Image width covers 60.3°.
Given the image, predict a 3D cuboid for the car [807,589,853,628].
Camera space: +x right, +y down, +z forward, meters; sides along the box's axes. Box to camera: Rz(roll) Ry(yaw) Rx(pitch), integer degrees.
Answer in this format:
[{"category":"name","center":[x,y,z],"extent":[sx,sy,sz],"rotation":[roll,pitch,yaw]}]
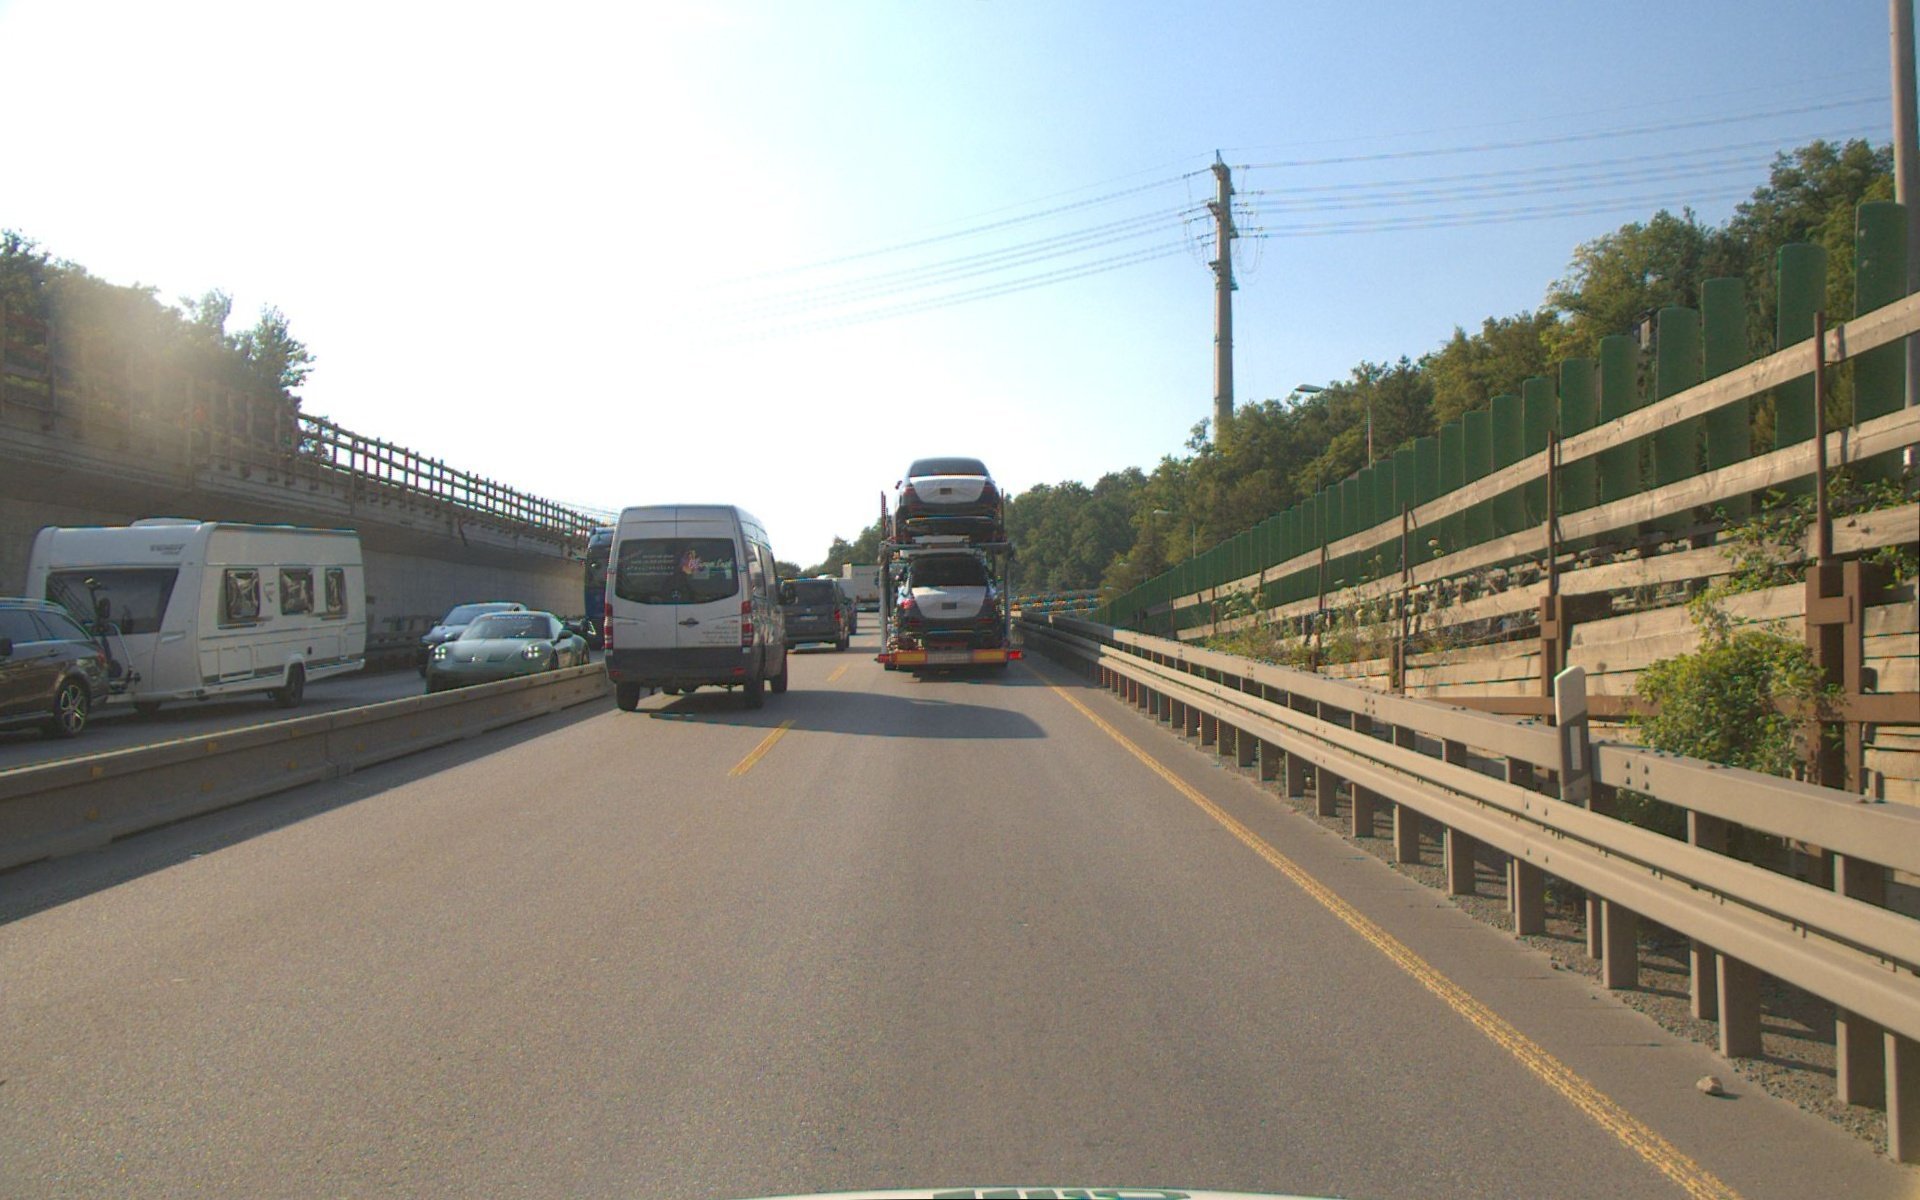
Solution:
[{"category":"car","center":[-5.437,0.347,69.677],"extent":[1.690,1.549,3.972],"rotation":[2,0,-2]}]

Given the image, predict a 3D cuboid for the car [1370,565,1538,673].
[{"category":"car","center":[9.283,0.401,31.454],"extent":[1.770,1.903,4.438],"rotation":[0,-2,-1]}]

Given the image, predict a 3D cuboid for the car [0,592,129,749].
[{"category":"car","center":[-10.333,0.704,16.624],"extent":[1.607,1.557,4.782],"rotation":[0,0,-1]}]

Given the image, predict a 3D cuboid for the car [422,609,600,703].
[{"category":"car","center":[-6.956,0.820,26.071],"extent":[1.745,1.348,4.238],"rotation":[0,0,-2]}]

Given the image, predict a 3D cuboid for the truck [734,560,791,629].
[{"category":"truck","center":[-13.270,-0.300,112.107],"extent":[2.924,4.226,15.842],"rotation":[1,0,-4]}]

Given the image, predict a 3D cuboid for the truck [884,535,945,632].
[{"category":"truck","center":[-2.397,-0.791,84.253],"extent":[2.850,4.687,7.281],"rotation":[1,0,-3]}]

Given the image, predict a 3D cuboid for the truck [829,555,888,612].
[{"category":"truck","center":[-9.009,-1.393,144.955],"extent":[3.991,4.761,10.566],"rotation":[1,0,-10]}]

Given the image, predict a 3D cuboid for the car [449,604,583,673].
[{"category":"car","center":[-10.319,0.848,38.789],"extent":[1.932,1.446,4.898],"rotation":[-2,0,-2]}]

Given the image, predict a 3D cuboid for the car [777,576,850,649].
[{"category":"car","center":[-4.106,0.385,46.744],"extent":[1.772,1.937,3.998],"rotation":[2,-2,-2]}]

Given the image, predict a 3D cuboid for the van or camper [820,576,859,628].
[{"category":"van or camper","center":[-6.460,0.137,88.816],"extent":[1.929,2.637,5.037],"rotation":[2,-1,-3]}]

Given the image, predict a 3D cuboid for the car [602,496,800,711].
[{"category":"car","center":[-3.525,0.050,23.583],"extent":[1.953,2.694,5.530],"rotation":[0,0,0]}]

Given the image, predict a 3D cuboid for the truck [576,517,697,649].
[{"category":"truck","center":[-11.210,-0.537,58.231],"extent":[2.571,4.184,9.623],"rotation":[-2,0,-2]}]

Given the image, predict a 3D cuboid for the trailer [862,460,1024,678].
[{"category":"trailer","center":[-0.298,-0.390,35.472],"extent":[2.628,3.597,15.286],"rotation":[1,-1,0]}]

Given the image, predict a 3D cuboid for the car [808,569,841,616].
[{"category":"car","center":[-15.485,-0.773,188.550],"extent":[3.379,5.123,9.640],"rotation":[1,0,-6]}]

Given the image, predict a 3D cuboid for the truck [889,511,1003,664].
[{"category":"truck","center":[-0.330,-0.237,43.043],"extent":[2.628,3.597,7.192],"rotation":[1,-1,0]}]

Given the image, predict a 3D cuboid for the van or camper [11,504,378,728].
[{"category":"van or camper","center":[-10.544,0.210,23.551],"extent":[2.265,2.709,6.453],"rotation":[-1,0,-1]}]

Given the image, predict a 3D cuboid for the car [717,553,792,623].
[{"category":"car","center":[-7.908,-0.419,63.999],"extent":[2.421,2.578,3.999],"rotation":[1,-1,-1]}]
